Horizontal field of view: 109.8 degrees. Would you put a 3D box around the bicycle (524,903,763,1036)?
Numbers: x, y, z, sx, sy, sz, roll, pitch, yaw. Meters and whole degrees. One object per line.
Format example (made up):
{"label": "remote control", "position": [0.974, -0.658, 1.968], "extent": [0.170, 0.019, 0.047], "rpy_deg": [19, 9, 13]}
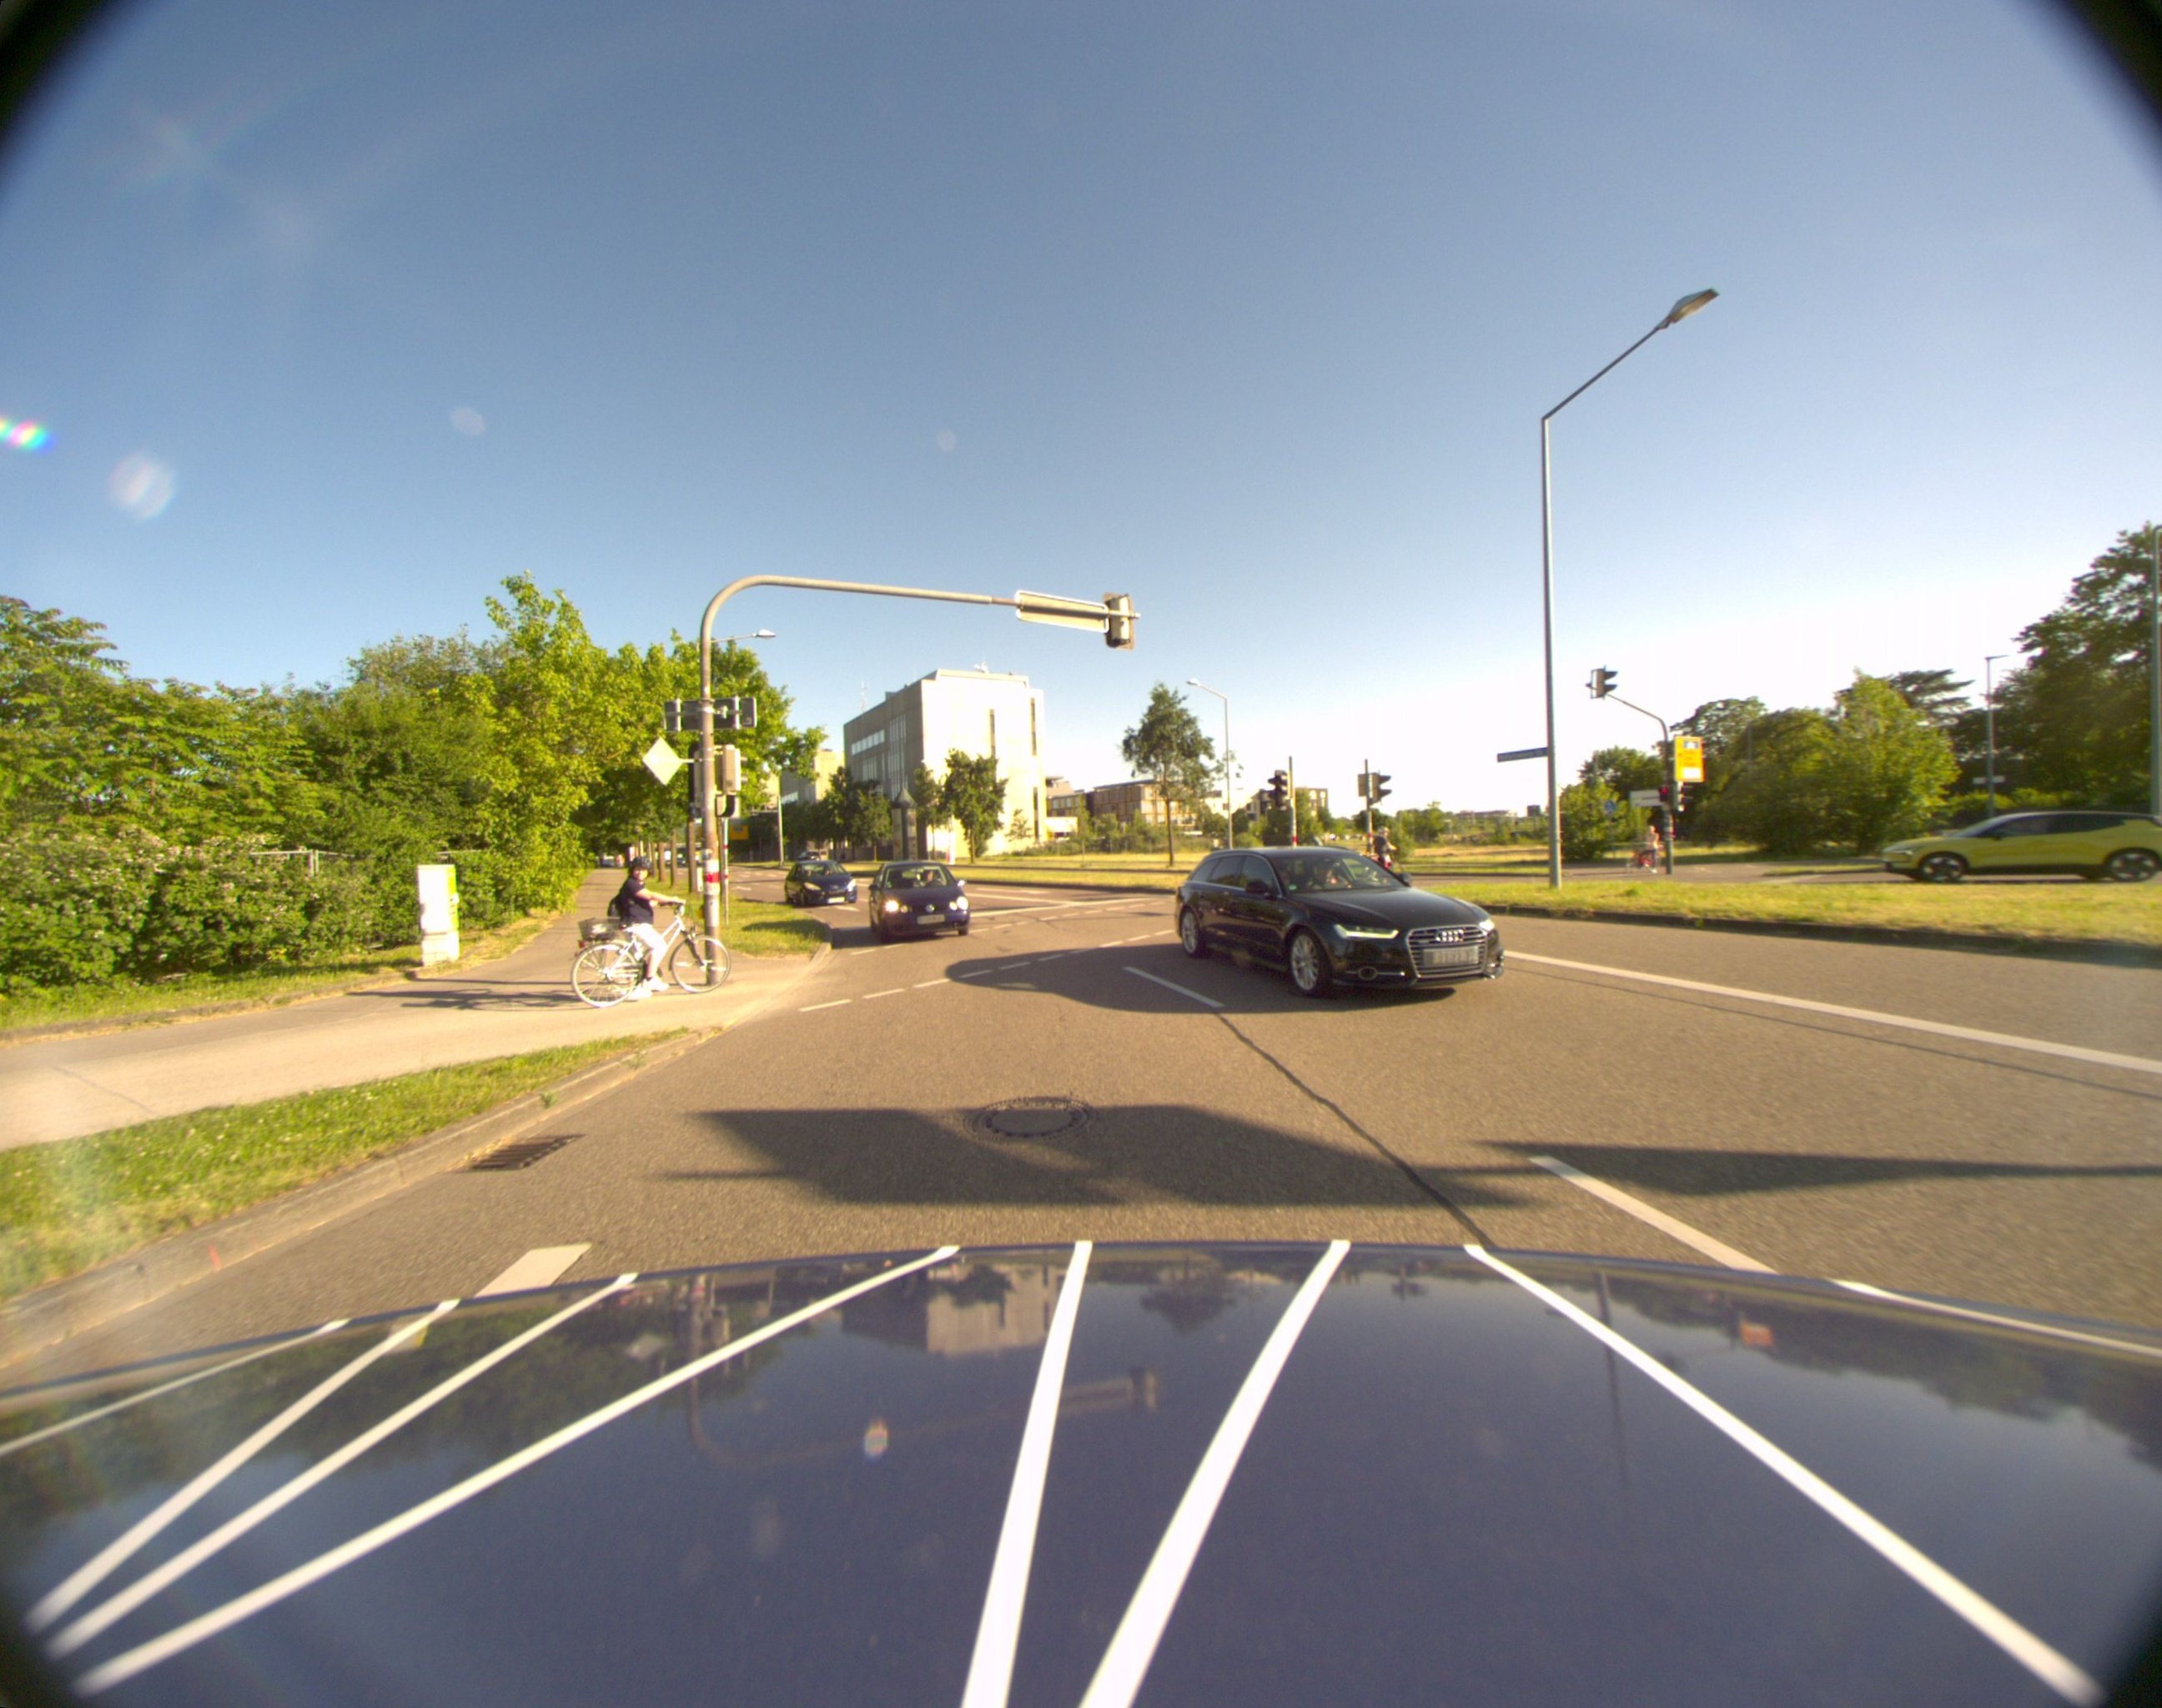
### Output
{"label": "bicycle", "position": [-4.973, 1.244, 8.817], "extent": [0.874, 1.148, 2.221], "rpy_deg": [1, 2, 35]}

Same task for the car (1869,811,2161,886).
{"label": "car", "position": [21.349, -0.100, 17.372], "extent": [4.313, 1.532, 2.013], "rpy_deg": [-2, 1, 34]}

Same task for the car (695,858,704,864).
{"label": "car", "position": [-116.631, 2.098, 232.177], "extent": [2.003, 1.569, 3.990], "rpy_deg": [-3, 2, -32]}

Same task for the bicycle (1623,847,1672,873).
{"label": "bicycle", "position": [20.659, 0.216, 27.701], "extent": [1.891, 0.848, 0.616], "rpy_deg": [-2, 1, -25]}

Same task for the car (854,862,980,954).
{"label": "car", "position": [-3.475, 0.957, 15.414], "extent": [1.640, 1.459, 4.537], "rpy_deg": [-3, 1, -23]}

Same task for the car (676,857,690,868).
{"label": "car", "position": [-65.317, 1.373, 124.696], "extent": [2.003, 1.678, 3.991], "rpy_deg": [-3, 1, -28]}

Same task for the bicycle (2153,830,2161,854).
{"label": "bicycle", "position": [39.322, -0.450, 26.758], "extent": [1.885, 0.848, 0.618], "rpy_deg": [-2, 1, 14]}

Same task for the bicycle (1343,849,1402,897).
{"label": "bicycle", "position": [7.504, 0.458, 19.513], "extent": [1.658, 1.122, 0.702], "rpy_deg": [-4, 3, -41]}

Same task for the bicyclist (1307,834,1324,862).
{"label": "bicyclist", "position": [13.324, -0.343, 43.164], "extent": [0.433, 1.555, 0.850], "rpy_deg": [-3, 1, -27]}

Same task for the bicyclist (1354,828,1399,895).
{"label": "bicyclist", "position": [7.640, 0.180, 19.640], "extent": [0.944, 1.654, 0.702], "rpy_deg": [-4, 3, -41]}

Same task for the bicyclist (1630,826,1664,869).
{"label": "bicyclist", "position": [20.596, -0.243, 27.663], "extent": [0.926, 1.508, 0.616], "rpy_deg": [-3, 1, -25]}

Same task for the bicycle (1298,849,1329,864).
{"label": "bicycle", "position": [13.240, 0.157, 43.385], "extent": [0.492, 0.847, 1.885], "rpy_deg": [-3, 1, -27]}

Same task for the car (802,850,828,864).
{"label": "car", "position": [-34.080, 0.334, 97.199], "extent": [2.003, 1.729, 4.726], "rpy_deg": [-3, 2, -32]}

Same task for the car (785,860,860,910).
{"label": "car", "position": [-8.902, 0.986, 25.959], "extent": [1.760, 1.446, 3.991], "rpy_deg": [-5, 2, -27]}

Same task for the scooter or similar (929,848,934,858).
{"label": "scooter or similar", "position": [-17.968, -0.128, 91.276], "extent": [0.454, 1.104, 1.404], "rpy_deg": [-2, 2, -18]}

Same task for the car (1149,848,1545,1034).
{"label": "car", "position": [2.546, 0.718, 8.881], "extent": [1.799, 1.435, 5.010], "rpy_deg": [-3, 1, -15]}

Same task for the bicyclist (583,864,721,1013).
{"label": "bicyclist", "position": [-4.968, 0.915, 8.829], "extent": [0.874, 1.553, 1.090], "rpy_deg": [1, 2, 35]}
